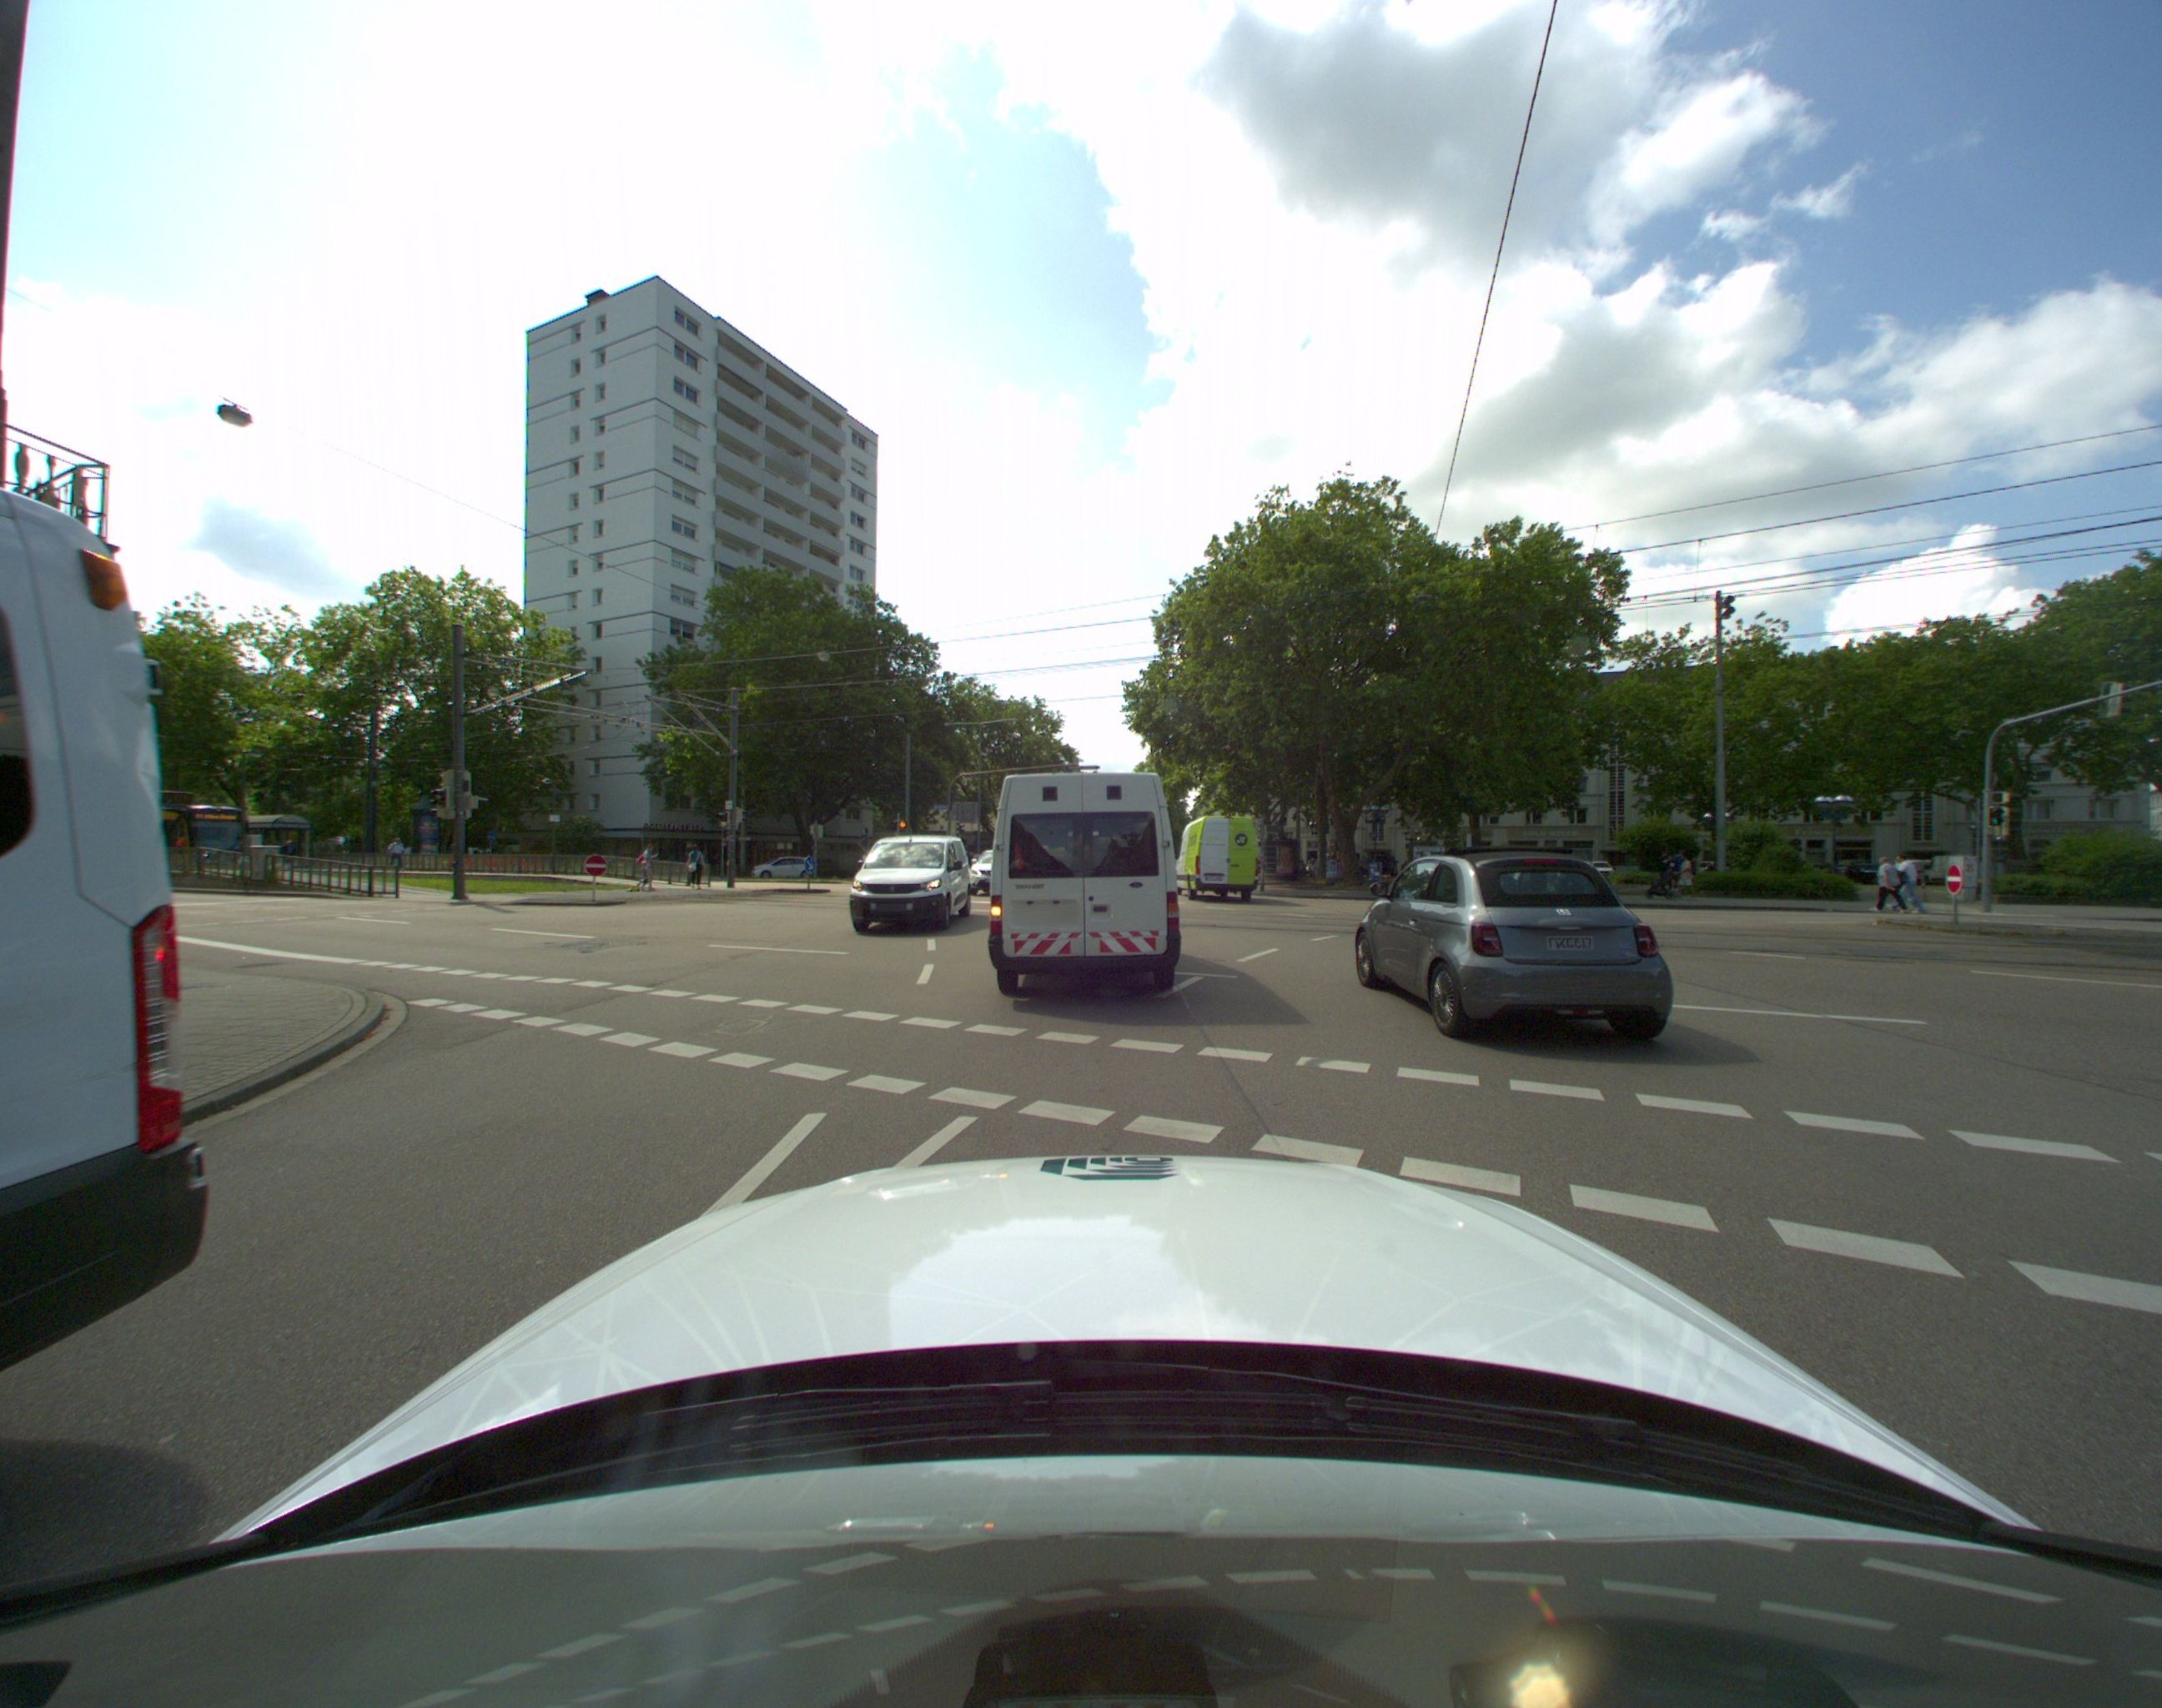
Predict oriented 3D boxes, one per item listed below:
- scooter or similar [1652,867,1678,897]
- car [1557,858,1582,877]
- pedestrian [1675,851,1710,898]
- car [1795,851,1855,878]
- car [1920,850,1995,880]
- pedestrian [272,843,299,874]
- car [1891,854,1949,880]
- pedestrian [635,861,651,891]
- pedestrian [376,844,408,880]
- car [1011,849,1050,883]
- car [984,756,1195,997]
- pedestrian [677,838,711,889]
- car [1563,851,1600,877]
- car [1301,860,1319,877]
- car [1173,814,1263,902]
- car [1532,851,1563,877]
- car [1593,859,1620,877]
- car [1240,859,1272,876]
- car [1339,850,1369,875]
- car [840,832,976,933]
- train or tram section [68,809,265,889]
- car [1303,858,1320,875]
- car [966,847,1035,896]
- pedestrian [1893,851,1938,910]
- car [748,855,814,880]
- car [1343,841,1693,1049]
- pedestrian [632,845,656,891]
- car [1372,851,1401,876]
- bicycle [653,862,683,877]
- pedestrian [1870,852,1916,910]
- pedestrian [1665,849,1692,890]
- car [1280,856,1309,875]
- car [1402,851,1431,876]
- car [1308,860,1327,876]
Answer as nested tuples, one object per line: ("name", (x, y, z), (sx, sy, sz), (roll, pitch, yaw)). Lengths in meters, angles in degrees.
("scooter or similar", (21.011, 1.009, 29.312), (0.699, 1.056, 0.494), (0, 0, 27))
("car", (44.680, 1.240, 74.493), (1.722, 1.637, 4.024), (0, -1, 27))
("pedestrian", (21.725, 0.703, 28.937), (0.911, 1.646, 0.573), (0, 0, 27))
("car", (53.573, 0.758, 58.725), (2.078, 1.905, 4.518), (0, -1, 27))
("car", (59.634, 0.744, 55.541), (2.078, 1.905, 4.518), (0, -1, 27))
("pedestrian", (-46.017, 0.250, 47.117), (0.866, 1.775, 0.865), (0, -1, 25))
("car", (66.224, 1.029, 64.346), (1.975, 1.964, 4.024), (0, -1, 27))
("pedestrian", (-15.768, 0.795, 29.311), (0.422, 1.063, 0.431), (1, -1, -41))
("pedestrian", (-34.810, 0.417, 41.150), (1.032, 1.780, 0.856), (0, -1, 26))
("car", (-2.518, 0.580, 41.440), (1.742, 1.540, 3.930), (-2, 0, -1))
("car", (0.084, 0.201, 10.261), (2.041, 2.333, 4.713), (0, 0, 0))
("pedestrian", (-14.800, 0.354, 31.155), (0.836, 1.899, 0.834), (0, -1, 25))
("car", (40.020, 0.782, 65.173), (1.976, 2.014, 4.022), (0, -1, 24))
("car", (19.607, 1.245, 69.635), (1.454, 1.389, 3.080), (0, -1, 17))
("car", (4.462, 0.109, 27.635), (2.112, 2.641, 6.329), (0, 0, 1))
("car", (38.002, 0.813, 66.437), (1.975, 2.014, 4.024), (0, -1, 27))
("car", (47.193, 1.235, 73.205), (1.722, 1.637, 4.024), (0, -1, 27))
("car", (16.320, 1.244, 75.863), (2.009, 1.600, 4.564), (0, -1, 24))
("car", (24.060, 0.733, 71.642), (1.975, 2.183, 4.282), (0, -1, 26))
("car", (-3.363, 0.479, 16.669), (1.806, 1.775, 4.284), (-1, 1, 1))
("train or tram section", (-45.364, -0.214, 40.235), (12.855, 3.584, 2.832), (0, -1, 25))
("car", (23.959, 1.271, 84.648), (1.453, 1.666, 3.083), (0, -1, 21))
("car", (-2.781, 0.567, 28.887), (1.763, 1.582, 4.025), (-1, 1, 4))
("pedestrian", (25.190, 0.786, 24.594), (0.665, 1.764, 0.693), (0, 0, 2))
("car", (-18.735, 0.843, 50.923), (3.592, 1.544, 1.540), (1, -1, -37))
("car", (3.804, 0.660, 7.795), (1.684, 1.538, 3.472), (0, 0, 4))
("pedestrian", (-16.033, 0.509, 29.908), (0.629, 1.666, 0.668), (0, 0, -42))
("car", (26.671, 0.837, 71.039), (1.975, 2.076, 4.023), (0, -1, 26))
("bicycle", (-27.756, 1.014, 54.766), (1.736, 1.009, 0.528), (1, -1, -38))
("pedestrian", (24.476, 0.803, 24.552), (0.715, 1.722, 0.693), (0, 0, 2))
("pedestrian", (25.536, 0.661, 34.800), (0.694, 1.750, 0.606), (0, 0, 2))
("car", (19.710, 1.090, 74.932), (1.888, 1.690, 4.564), (0, -1, 24))
("car", (28.726, 0.829, 69.661), (1.975, 2.076, 4.023), (0, -1, 26))
("car", (21.303, 1.282, 73.356), (1.453, 1.389, 3.251), (0, -1, 19))
